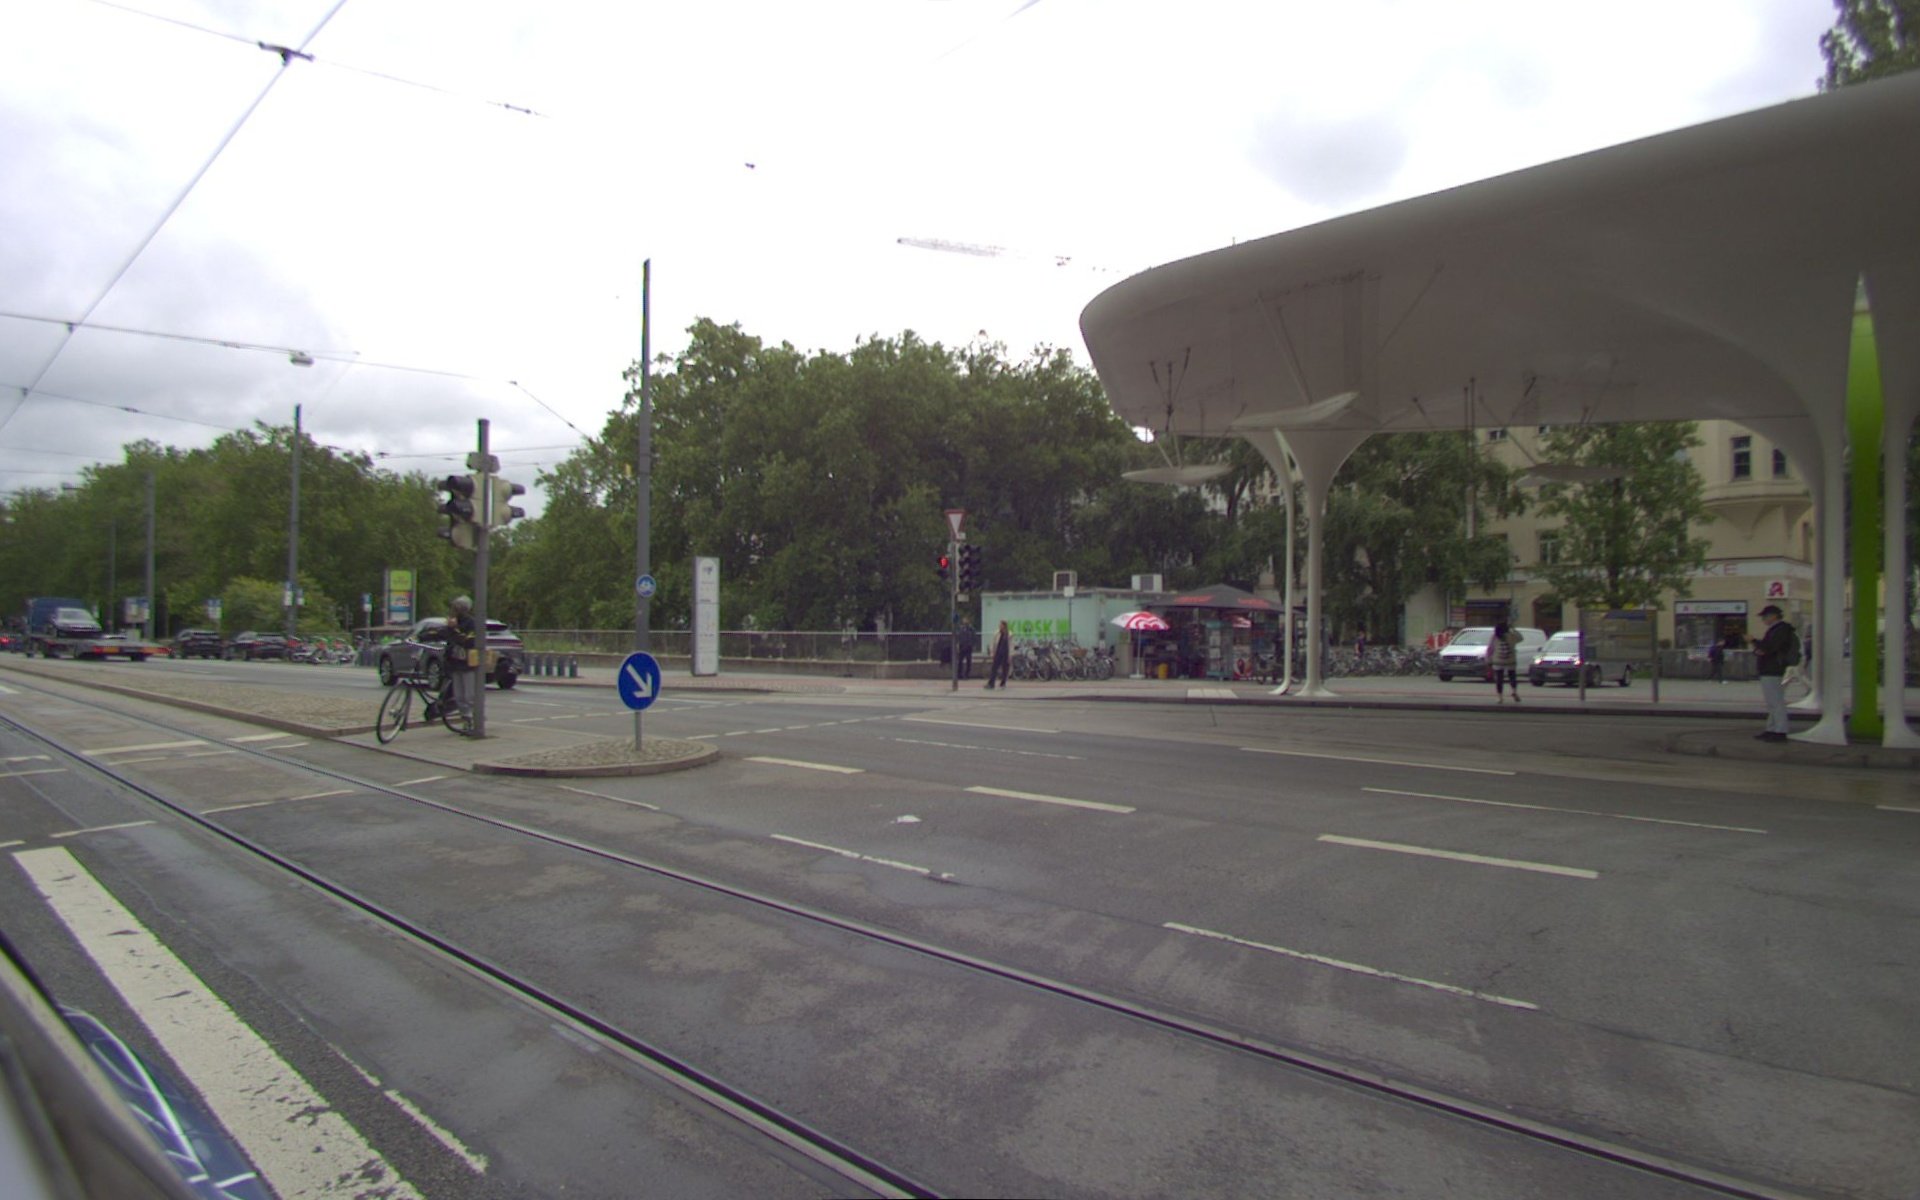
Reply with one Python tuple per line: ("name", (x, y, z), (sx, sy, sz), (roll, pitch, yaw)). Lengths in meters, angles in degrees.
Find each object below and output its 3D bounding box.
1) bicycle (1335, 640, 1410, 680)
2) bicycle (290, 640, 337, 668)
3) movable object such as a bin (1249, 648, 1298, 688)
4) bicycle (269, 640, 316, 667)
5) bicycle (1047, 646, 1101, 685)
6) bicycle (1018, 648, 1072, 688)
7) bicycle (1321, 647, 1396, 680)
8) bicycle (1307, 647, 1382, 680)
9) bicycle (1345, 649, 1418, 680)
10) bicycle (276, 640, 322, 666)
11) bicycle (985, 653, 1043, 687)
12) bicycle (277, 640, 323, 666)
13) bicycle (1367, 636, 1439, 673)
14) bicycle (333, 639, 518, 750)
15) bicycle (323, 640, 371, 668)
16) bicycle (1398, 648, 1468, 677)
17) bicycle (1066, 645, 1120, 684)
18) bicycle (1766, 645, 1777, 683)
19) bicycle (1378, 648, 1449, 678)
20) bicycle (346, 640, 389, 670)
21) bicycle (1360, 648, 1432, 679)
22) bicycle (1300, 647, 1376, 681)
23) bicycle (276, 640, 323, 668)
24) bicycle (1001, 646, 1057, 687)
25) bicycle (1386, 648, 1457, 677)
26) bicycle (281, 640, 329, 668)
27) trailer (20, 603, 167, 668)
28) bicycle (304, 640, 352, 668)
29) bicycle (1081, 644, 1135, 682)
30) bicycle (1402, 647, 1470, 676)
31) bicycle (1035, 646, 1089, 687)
("bicycle", (15.802, 2.280, 38.825), (2.562, 1.432, 0.627), (-2, -2, 42))
("bicycle", (-28.076, 2.349, 43.954), (0.504, 1.181, 1.675), (-1, -2, 31))
("movable object such as a bin", (9.035, 1.949, 29.138), (0.956, 1.092, 1.320), (-1, -2, 38))
("bicycle", (-29.846, 2.397, 45.290), (0.504, 1.181, 1.673), (-2, -2, 34))
("bicycle", (3.351, 1.913, 29.858), (0.472, 1.104, 1.854), (1, -2, -35))
("bicycle", (2.421, 1.935, 29.081), (0.472, 1.104, 1.854), (1, -2, -35))
("bicycle", (14.879, 2.358, 37.830), (2.523, 1.138, 0.635), (-2, -2, 42))
("bicycle", (14.072, 2.309, 37.106), (2.523, 1.138, 0.635), (-1, -2, 42))
("bicycle", (16.304, 2.471, 39.217), (2.523, 1.138, 0.635), (-2, -3, 42))
("bicycle", (-30.360, 2.425, 46.475), (0.561, 1.181, 1.672), (-2, -2, 38))
("bicycle", (1.494, 1.941, 28.351), (0.473, 0.901, 1.852), (2, -2, -41))
("bicycle", (-29.997, 2.403, 46.032), (0.505, 1.181, 1.672), (-2, -2, 37))
("bicycle", (17.558, 2.137, 40.164), (2.562, 1.432, 0.627), (-2, -2, 42))
("bicycle", (-6.426, 1.094, 12.338), (0.503, 1.159, 2.216), (0, 0, 21))
("bicycle", (-26.144, 2.297, 43.157), (0.560, 1.181, 1.675), (-1, -2, 31))
("bicycle", (19.529, 2.580, 41.811), (2.523, 1.138, 0.635), (-2, -3, 42))
("bicycle", (3.966, 1.898, 30.268), (0.472, 1.104, 1.854), (1, -2, -35))
("bicycle", (32.027, 2.525, 39.955), (0.295, 1.407, 1.126), (-2, 0, 39))
("bicycle", (18.159, 2.503, 40.572), (2.523, 1.138, 0.635), (-2, -2, 42))
("bicycle", (-24.255, 2.245, 41.464), (0.556, 1.181, 1.687), (-1, -2, 11))
("bicycle", (17.089, 2.475, 39.700), (2.523, 1.138, 0.635), (-1, -2, 42))
("bicycle", (13.648, 2.298, 36.588), (2.523, 1.138, 0.635), (-1, -2, 42))
("bicycle", (-29.272, 2.381, 44.889), (0.504, 1.181, 1.674), (-1, -2, 33))
("bicycle", (1.927, 1.859, 28.686), (0.472, 1.104, 1.853), (1, -2, -38))
("bicycle", (18.736, 2.529, 41.117), (2.523, 1.138, 0.635), (-2, -3, 42))
("bicycle", (-28.812, 2.369, 44.527), (0.560, 1.181, 1.675), (-1, -2, 31))
("trailer", (-41.387, 1.703, 47.985), (15.625, 2.703, 2.583), (-2, -4, 40))
("bicycle", (-27.247, 2.327, 43.659), (0.560, 1.181, 1.675), (-1, -2, 31))
("bicycle", (4.464, 1.886, 30.559), (0.472, 1.104, 1.854), (1, -2, -35))
("bicycle", (20.075, 2.590, 42.746), (2.523, 1.138, 0.635), (-1, -2, 42))
("bicycle", (2.949, 1.922, 29.529), (0.472, 1.104, 1.854), (1, -2, -35))
